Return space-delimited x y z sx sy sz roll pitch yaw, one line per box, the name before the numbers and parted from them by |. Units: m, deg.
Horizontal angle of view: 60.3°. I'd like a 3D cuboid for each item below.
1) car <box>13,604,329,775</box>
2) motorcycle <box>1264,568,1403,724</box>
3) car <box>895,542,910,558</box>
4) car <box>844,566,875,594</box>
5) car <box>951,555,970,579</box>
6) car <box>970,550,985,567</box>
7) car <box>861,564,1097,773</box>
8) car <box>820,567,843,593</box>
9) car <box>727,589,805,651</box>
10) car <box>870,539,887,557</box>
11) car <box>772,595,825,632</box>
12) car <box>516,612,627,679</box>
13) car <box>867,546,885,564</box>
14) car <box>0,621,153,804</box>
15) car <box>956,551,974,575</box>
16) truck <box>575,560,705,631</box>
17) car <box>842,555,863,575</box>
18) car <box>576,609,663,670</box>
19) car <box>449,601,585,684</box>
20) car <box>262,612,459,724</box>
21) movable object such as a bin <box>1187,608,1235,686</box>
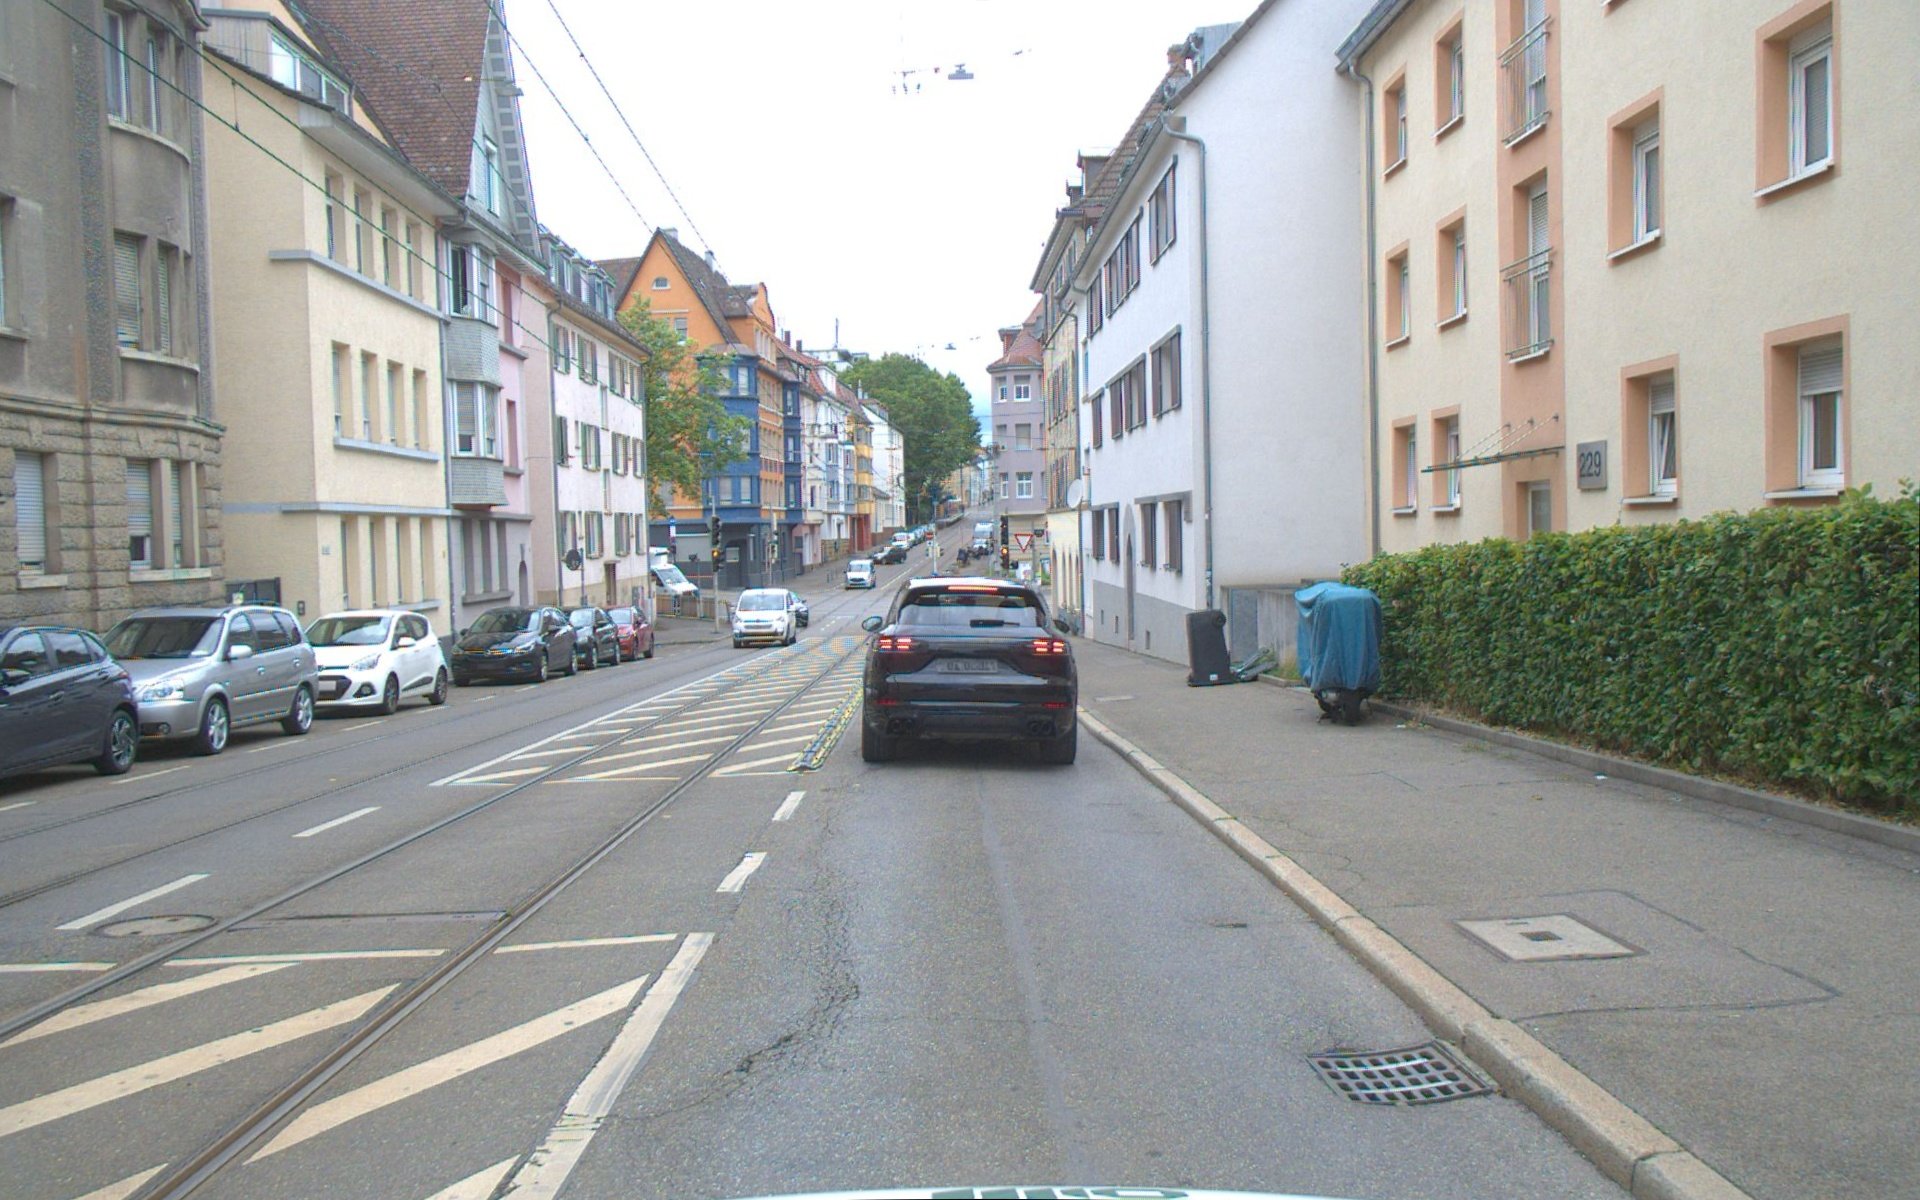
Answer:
car | -8.763 0.902 18.813 1.588 1.632 4.349 -2 0 -2
motorcycle | 3.826 0.445 17.177 0.821 1.482 2.552 -2 0 0
car | -5.909 -5.082 169.128 1.366 1.476 3.358 -2 0 0
car | -6.613 -1.307 109.368 1.715 1.790 4.253 -2 0 0
car | 0.014 -2.469 124.845 1.366 1.752 3.358 -2 0 0
car | 1.666 -3.898 157.258 1.366 1.476 3.358 -2 0 0
car | 0.123 0.583 15.973 1.953 1.705 3.999 -2 0 -1
car | -9.159 -1.429 118.293 1.366 1.752 3.358 -2 0 0
car | -6.108 0.618 52.501 1.881 1.850 4.217 -2 0 0
car | -7.483 -4.807 152.351 1.366 1.476 3.358 -2 0 0
car | -6.786 0.554 69.885 1.882 1.449 4.496 -2 0 -1
car | -9.103 1.024 39.038 1.701 1.435 3.999 -2 0 -1
car | -7.442 -3.952 146.050 1.366 1.476 3.358 -2 0 0
car | -8.672 0.960 14.196 1.588 1.488 4.031 -2 -1 -2
car | 0.408 -2.925 131.734 1.366 1.752 3.358 -2 0 0
truck | -16.352 -0.208 84.438 6.251 3.430 2.346 -2 0 23
car | -8.529 -2.747 131.175 1.366 1.476 3.358 -2 0 0
car | -9.126 1.043 44.583 1.588 1.516 4.045 -2 -1 -2
car | -8.806 0.826 33.231 1.588 1.499 4.554 -2 -1 -2
car | -8.881 0.964 24.804 1.588 1.488 3.684 -2 -1 -1
movable object such as a bin | 3.637 0.670 23.970 0.576 1.099 0.692 -2 0 1
